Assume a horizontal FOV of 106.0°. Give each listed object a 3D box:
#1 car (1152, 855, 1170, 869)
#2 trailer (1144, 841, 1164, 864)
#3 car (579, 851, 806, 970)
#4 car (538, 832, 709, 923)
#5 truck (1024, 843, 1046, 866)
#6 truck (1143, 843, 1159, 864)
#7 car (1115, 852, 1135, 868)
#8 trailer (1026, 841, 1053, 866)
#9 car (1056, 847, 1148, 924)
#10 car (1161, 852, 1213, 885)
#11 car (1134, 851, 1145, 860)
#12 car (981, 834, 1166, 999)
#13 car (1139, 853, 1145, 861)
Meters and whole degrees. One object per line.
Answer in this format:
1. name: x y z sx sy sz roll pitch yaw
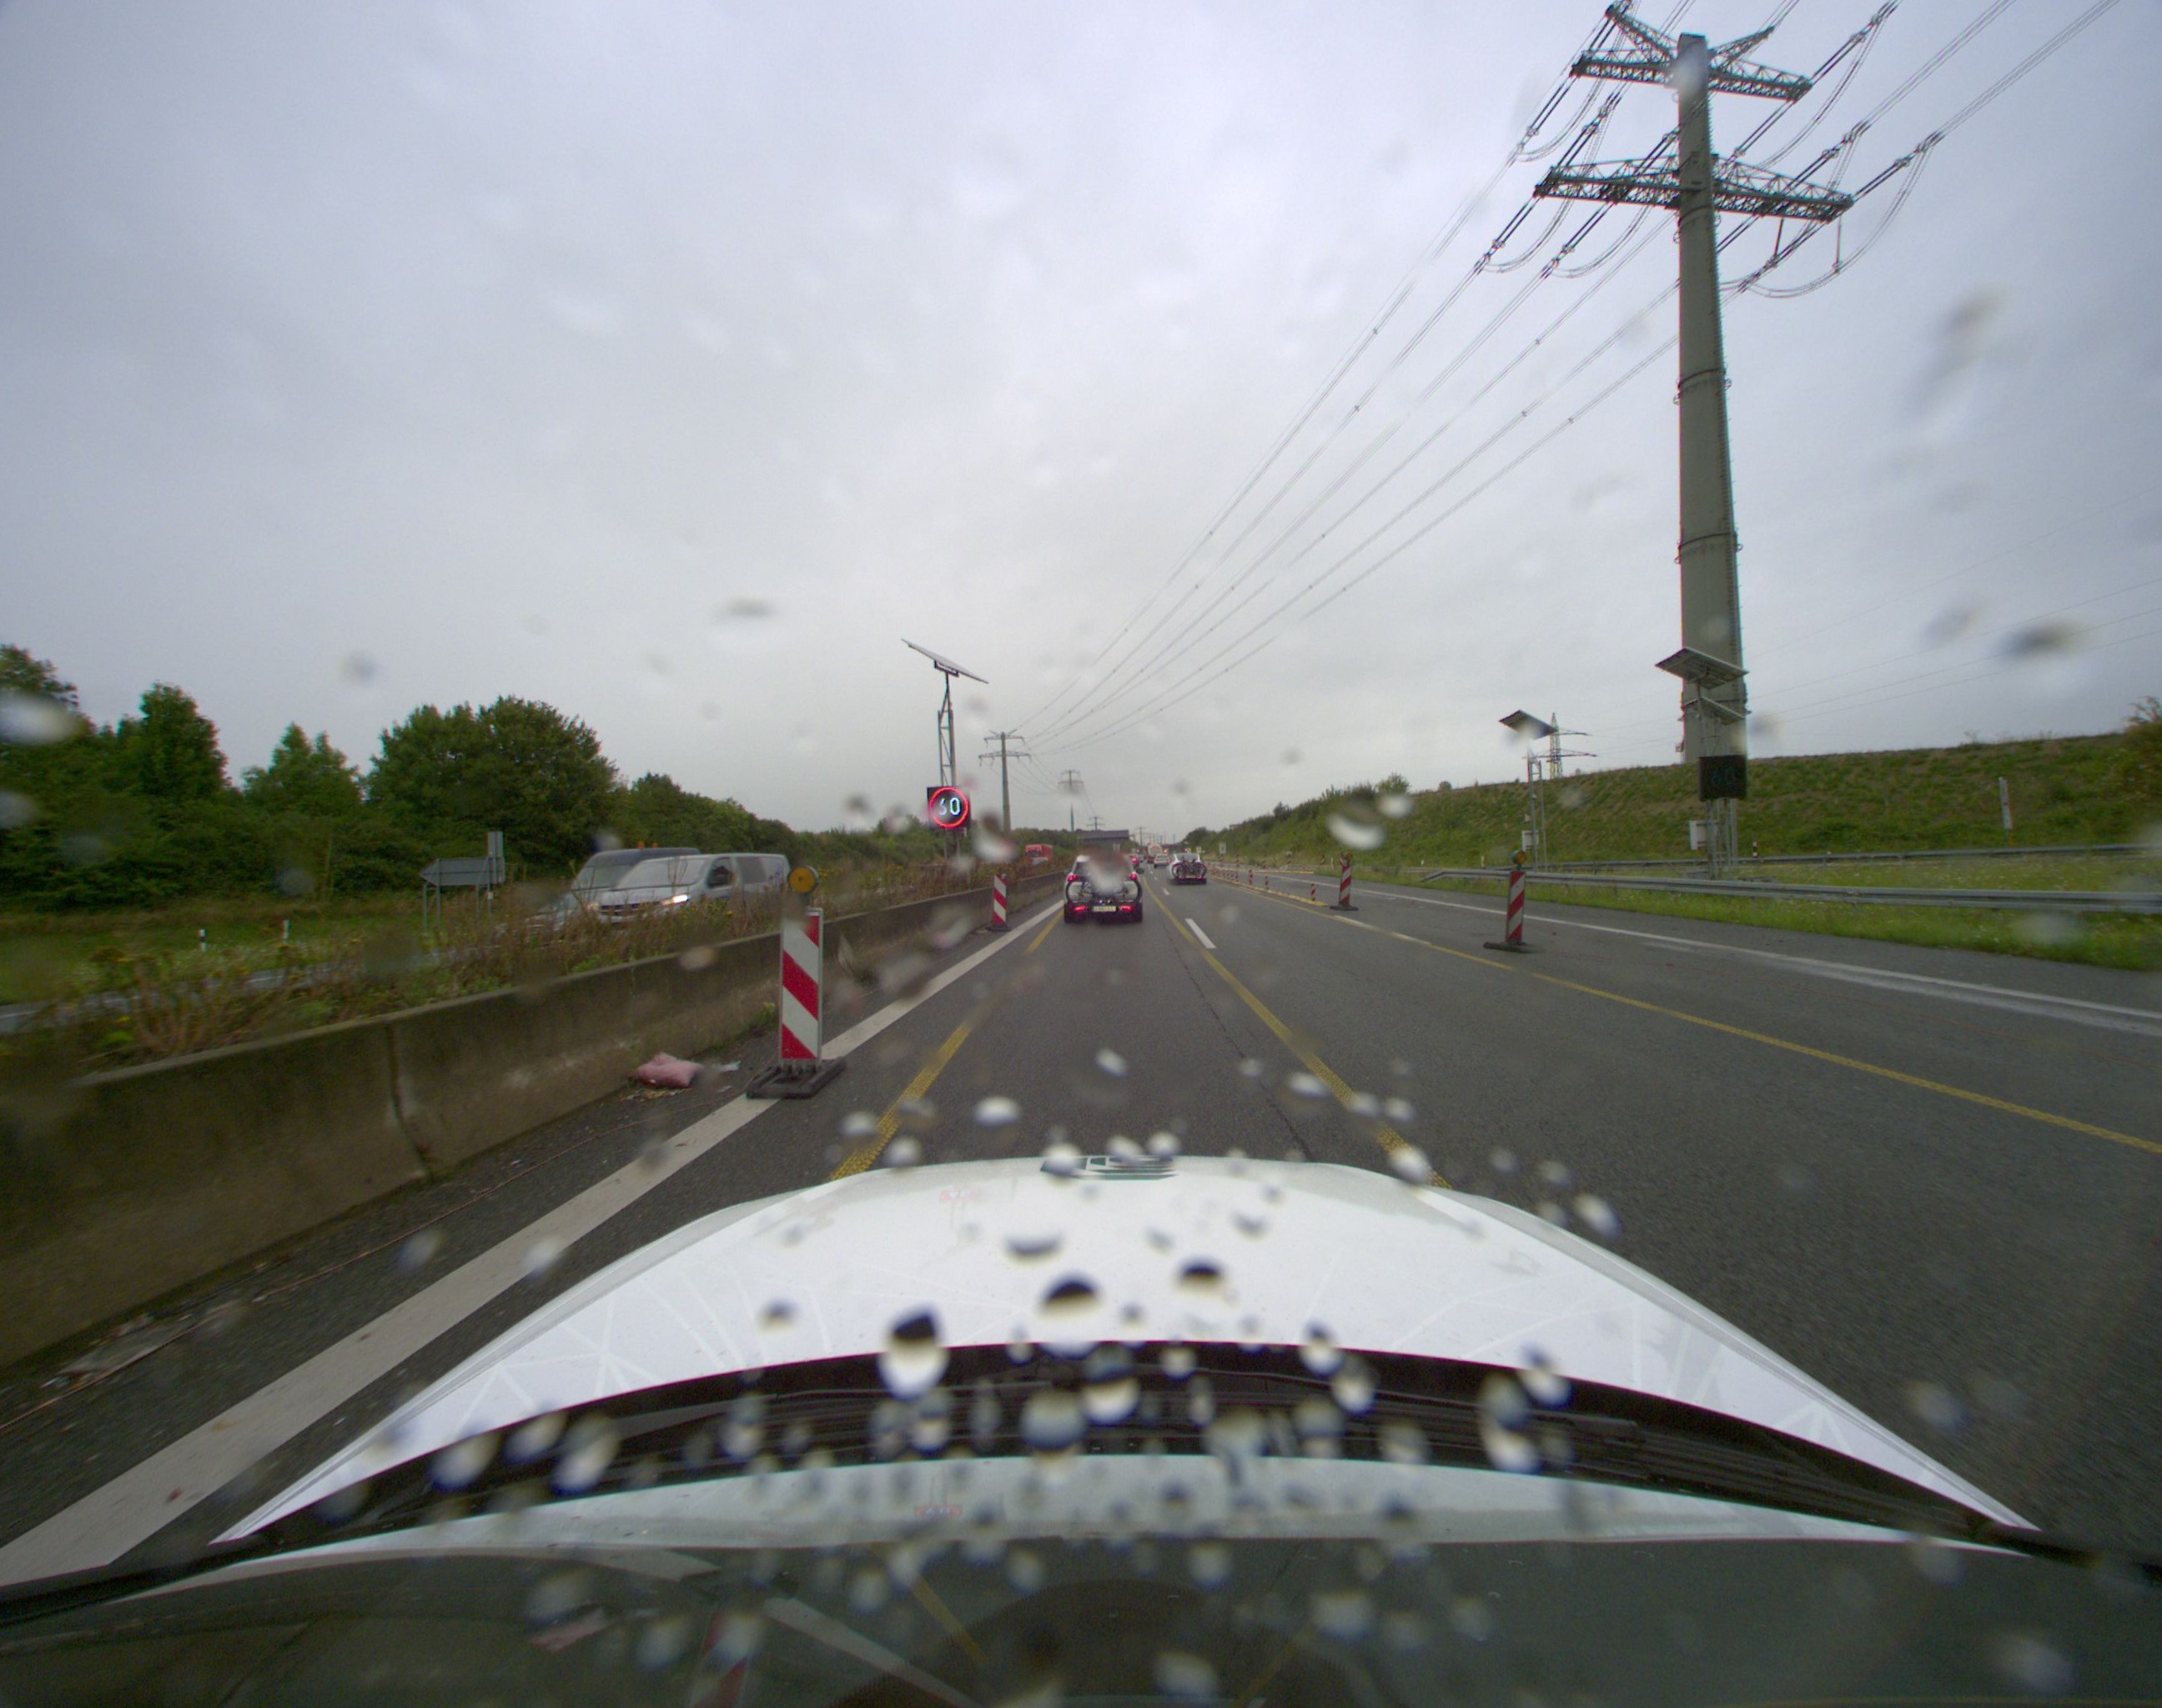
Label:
1. car: 8.922 0.849 90.687 1.861 1.535 4.201 -1 0 4
2. trailer: 12.592 -0.167 141.977 2.628 3.893 10.543 -1 -1 1
3. car: -7.478 0.973 16.414 1.760 2.014 5.259 0 0 4
4. car: -14.422 0.710 26.217 2.043 2.609 5.849 -1 -1 2
5. truck: -7.224 0.093 128.190 3.012 3.531 4.930 -1 -1 3
6. truck: 12.671 -0.079 148.377 2.636 3.891 4.030 -1 -1 1
7. car: 4.772 0.639 88.088 1.987 1.584 4.000 -1 0 1
8. trailer: -6.846 0.022 135.402 3.025 3.814 13.986 -1 -1 3
9. car: 0.565 0.669 19.484 1.920 1.611 4.599 -1 0 3
10. car: 5.450 0.739 42.570 2.038 1.596 5.802 -1 0 1
11. car: 12.364 0.340 172.612 1.987 2.014 4.000 -1 -1 1
12. car: -0.001 0.701 11.132 1.986 1.760 4.002 -3 0 2
13. car: 17.214 0.809 228.664 1.646 2.013 4.005 -1 0 5
